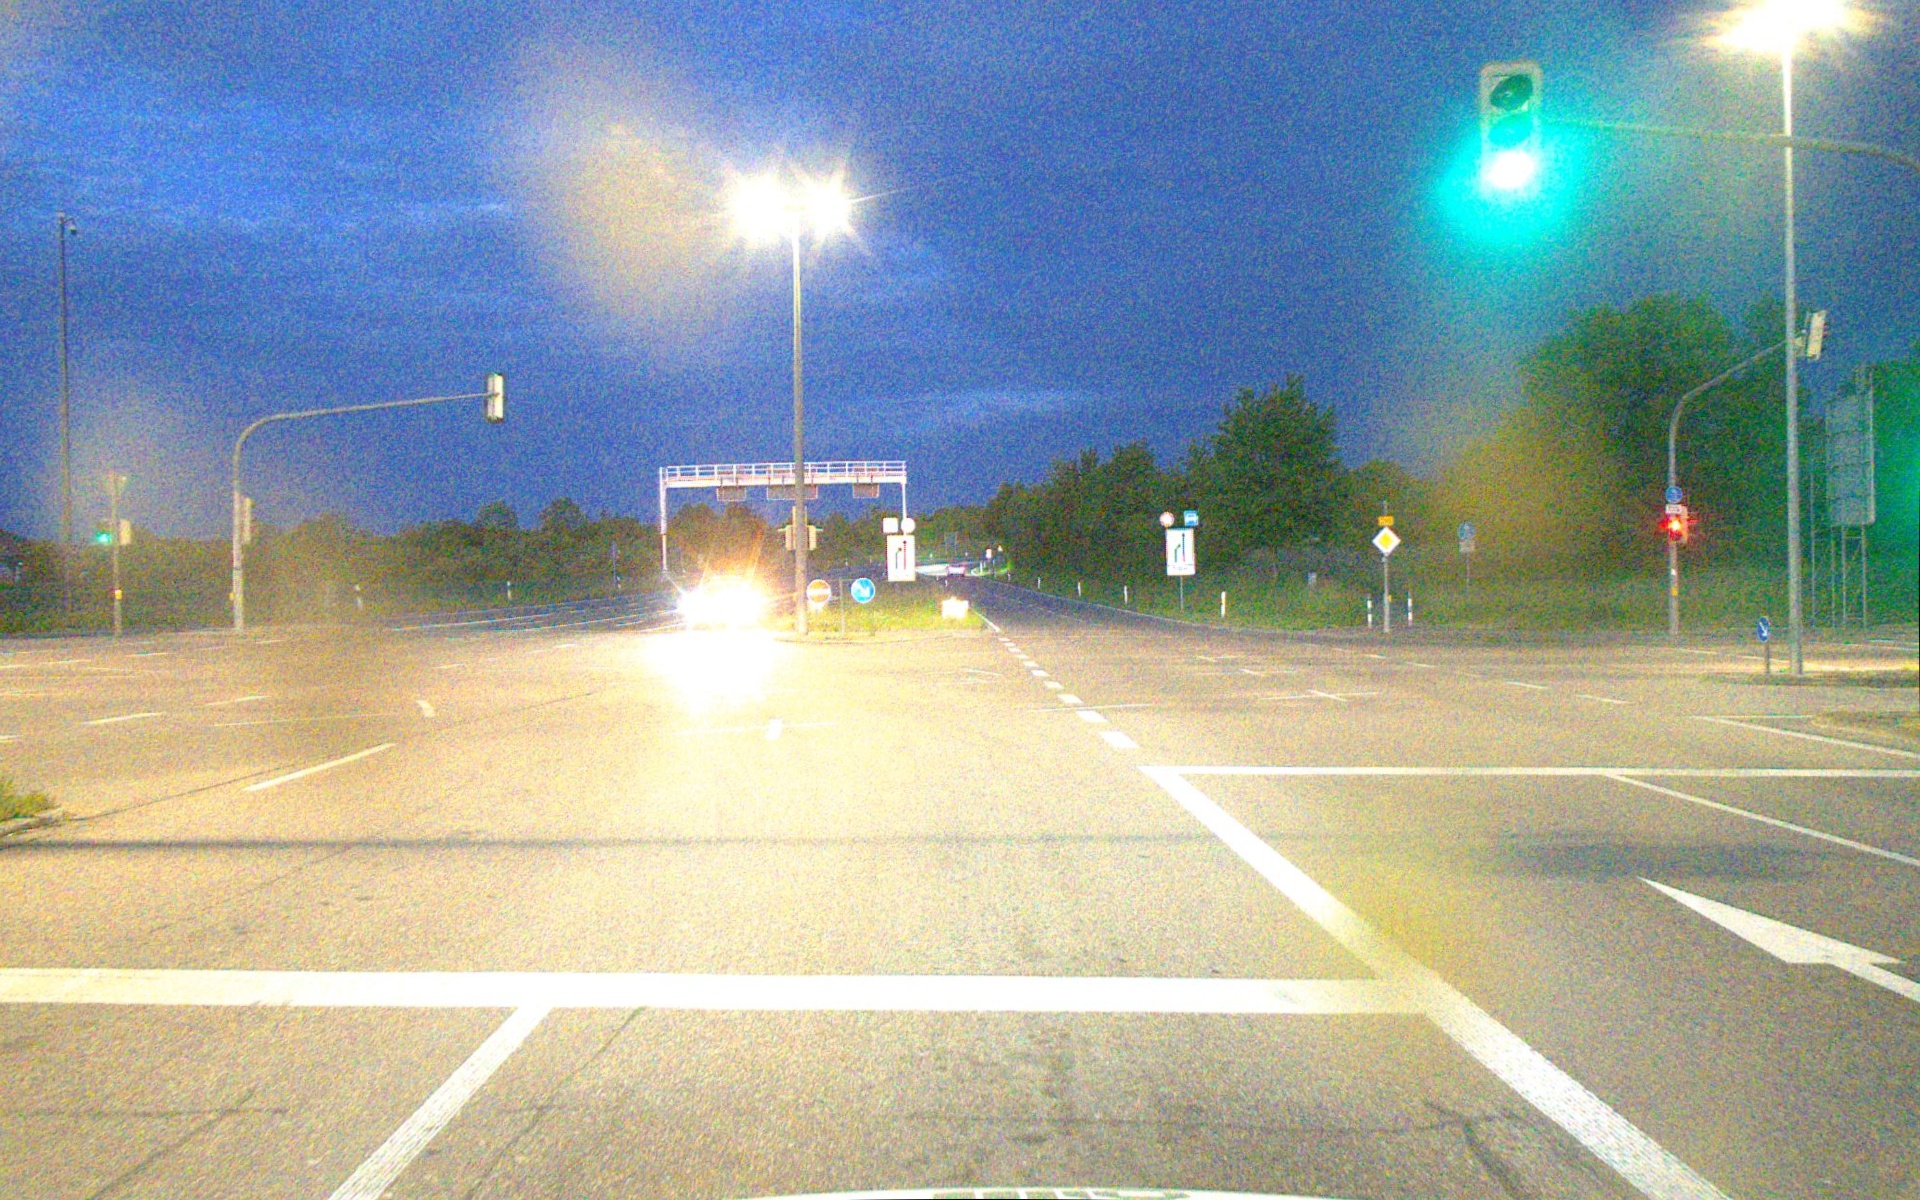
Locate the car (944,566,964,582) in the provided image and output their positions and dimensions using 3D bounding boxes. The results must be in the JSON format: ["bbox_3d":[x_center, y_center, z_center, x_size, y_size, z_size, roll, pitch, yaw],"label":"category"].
[{"bbox_3d":[-0.647,-2.684,173.710,1.966,1.639,3.846,0,0,1],"label":"car"}]

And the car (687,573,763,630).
[{"bbox_3d":[-7.352,0.020,52.060,1.953,1.728,3.999,0,1,-2],"label":"car"}]
